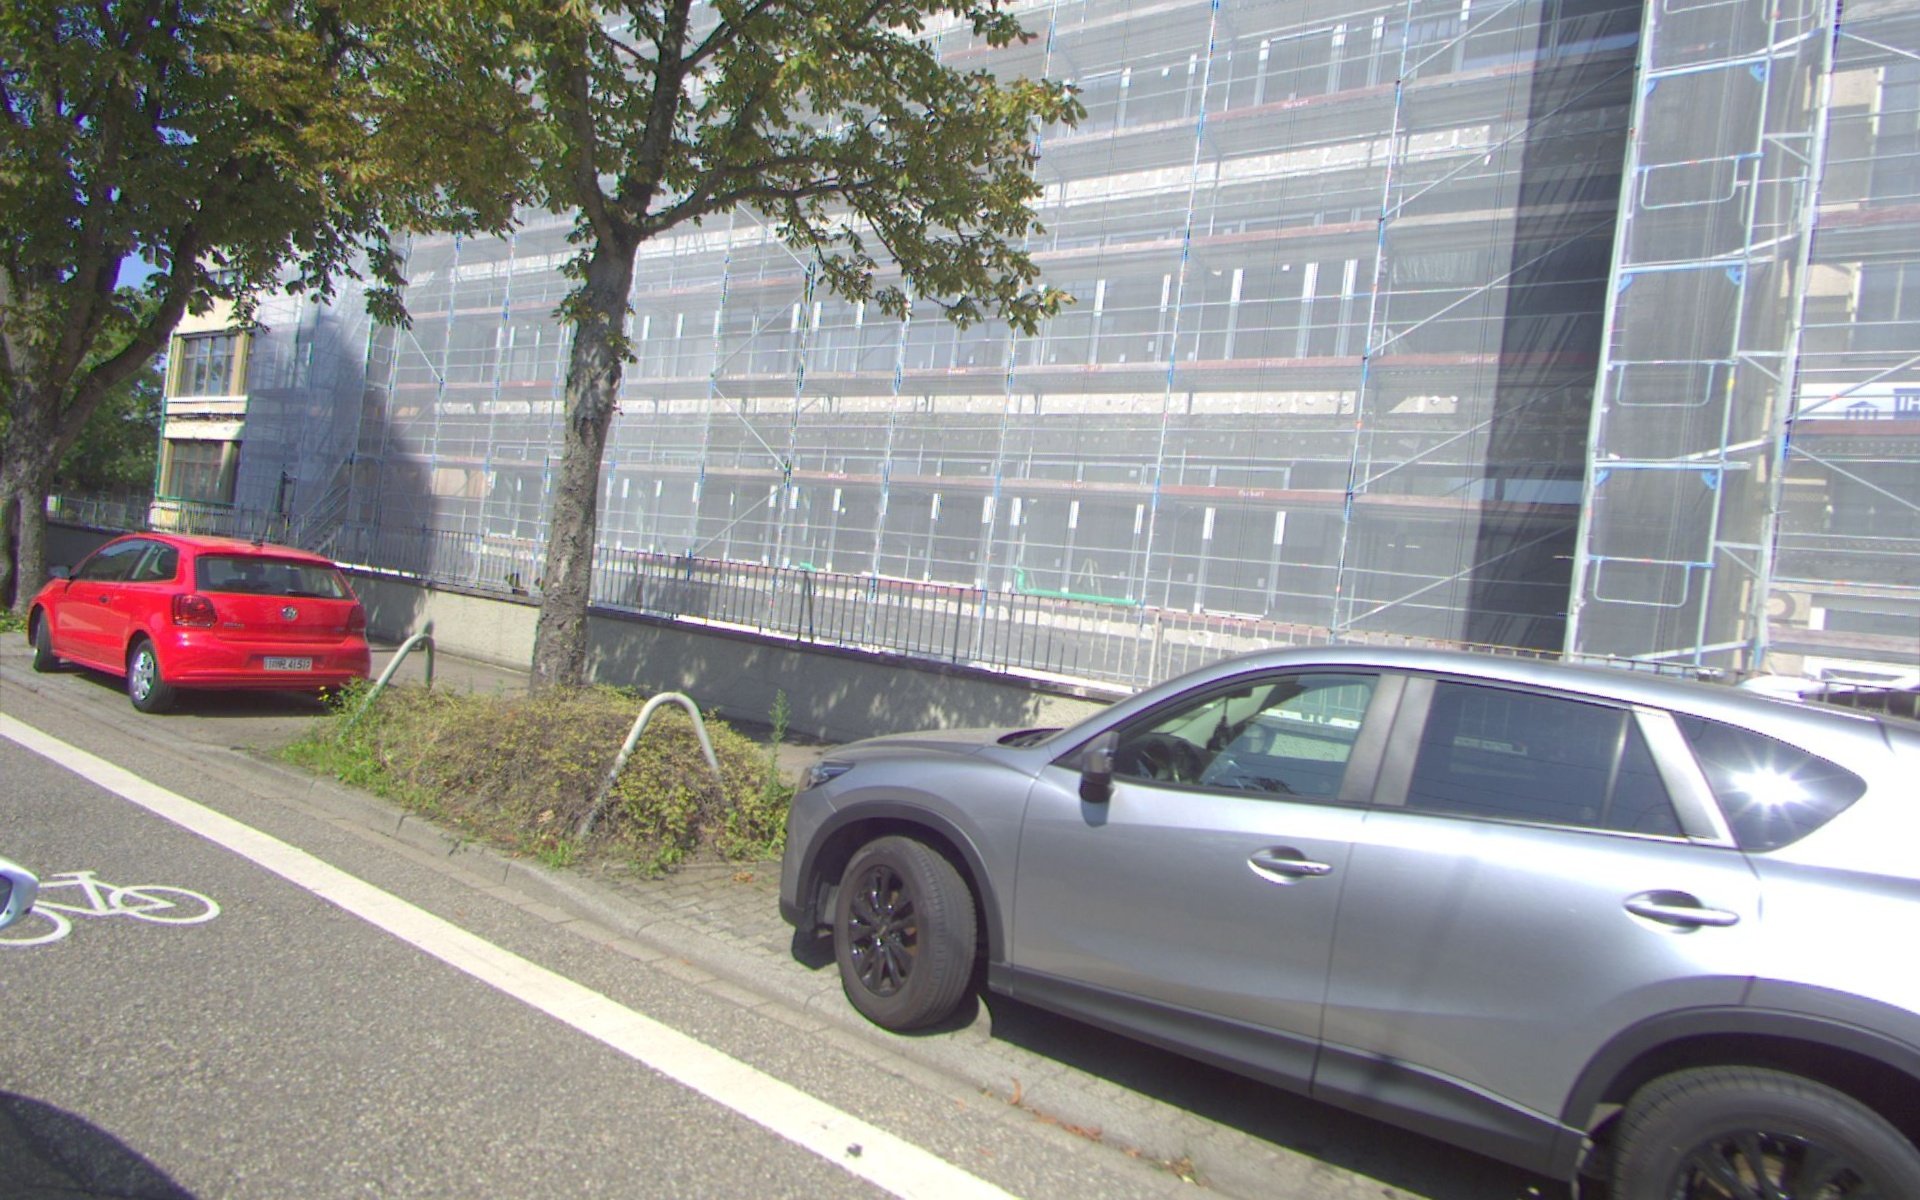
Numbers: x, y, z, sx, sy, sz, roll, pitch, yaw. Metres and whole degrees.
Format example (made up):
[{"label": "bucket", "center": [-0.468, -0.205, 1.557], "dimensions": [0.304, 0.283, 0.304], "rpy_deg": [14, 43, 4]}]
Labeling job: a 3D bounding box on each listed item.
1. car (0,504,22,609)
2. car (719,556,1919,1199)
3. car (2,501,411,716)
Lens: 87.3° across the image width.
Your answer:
[{"label": "car", "center": [-15.636, -0.896, 14.522], "dimensions": [4.221, 1.448, 1.911], "rpy_deg": [7, -1, 31]}, {"label": "car", "center": [1.362, 0.955, 3.793], "dimensions": [4.289, 1.688, 1.743], "rpy_deg": [7, -1, 31]}, {"label": "car", "center": [-7.105, 0.055, 9.436], "dimensions": [3.622, 1.480, 1.743], "rpy_deg": [7, -1, 31]}]
